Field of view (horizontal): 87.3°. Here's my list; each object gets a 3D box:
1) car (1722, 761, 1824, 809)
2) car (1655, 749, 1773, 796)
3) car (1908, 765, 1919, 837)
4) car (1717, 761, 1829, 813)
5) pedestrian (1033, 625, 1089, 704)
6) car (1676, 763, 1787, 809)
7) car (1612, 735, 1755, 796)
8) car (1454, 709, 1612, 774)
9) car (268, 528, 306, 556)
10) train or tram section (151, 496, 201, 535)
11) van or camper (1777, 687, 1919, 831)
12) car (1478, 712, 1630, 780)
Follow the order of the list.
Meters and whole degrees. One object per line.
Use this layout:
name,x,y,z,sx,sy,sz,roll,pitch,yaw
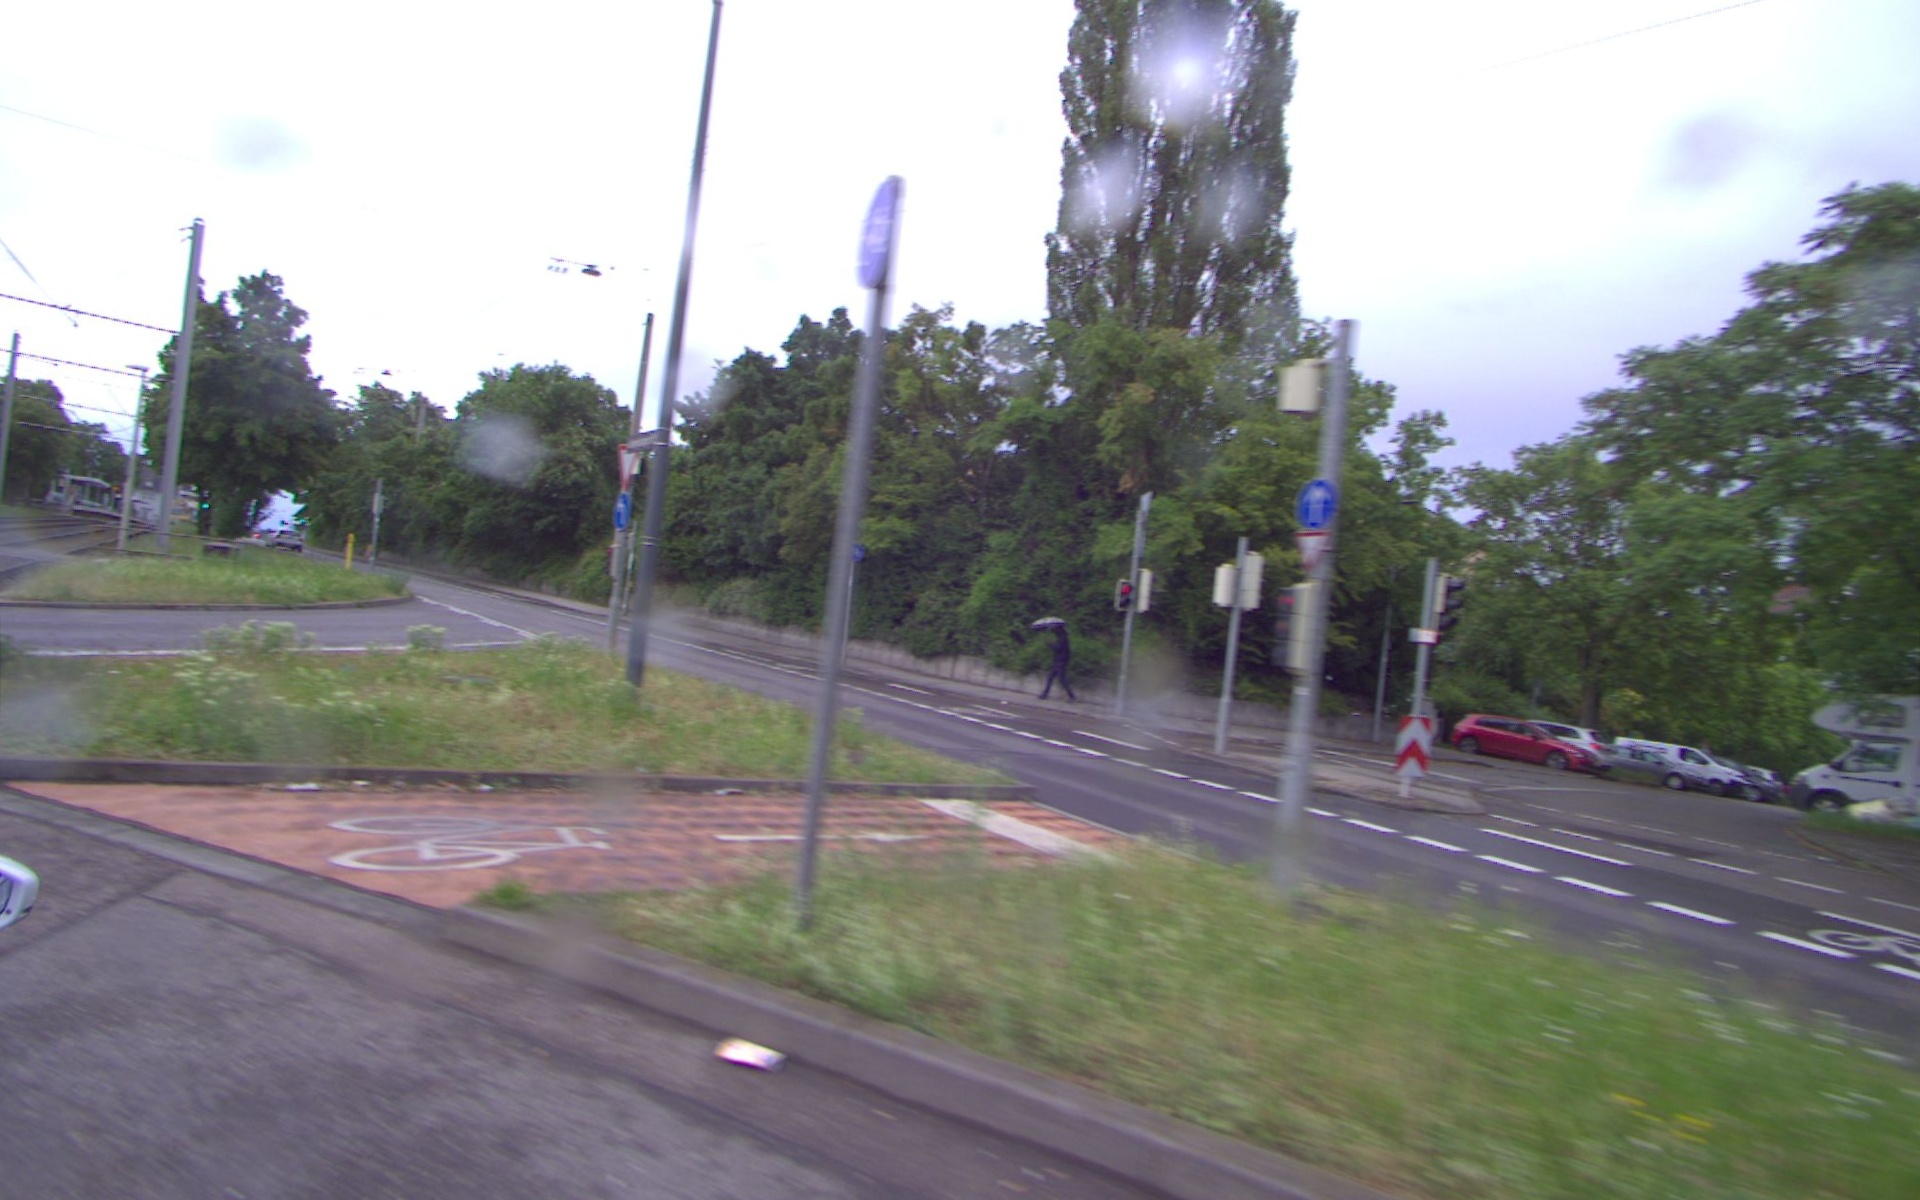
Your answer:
car,43.794,9.926,54.230,1.667,1.763,3.953,8,-1,-42
car,34.326,7.839,45.855,1.667,1.370,3.953,8,-1,-42
car,20.484,4.143,19.093,1.667,1.370,3.432,8,-1,-42
car,40.072,9.174,49.645,1.667,1.763,3.953,8,-1,-42
pedestrian,2.222,1.416,22.126,0.803,1.624,0.677,9,-3,-35
car,37.198,8.942,48.567,1.667,1.370,3.953,8,-1,-42
car,31.335,7.141,43.698,1.867,1.753,4.641,8,-1,-42
car,18.166,4.468,32.033,1.667,1.370,3.953,8,-1,-42
car,-45.638,-3.957,68.196,1.697,1.539,3.751,9,-2,-39
train or tram section,-98.352,-10.633,126.406,4.042,3.939,14.887,9,-1,-36
van or camper,22.087,3.745,21.706,2.412,2.787,6.362,8,-1,-39
car,19.723,4.829,33.515,1.667,1.567,3.953,8,-1,-42
